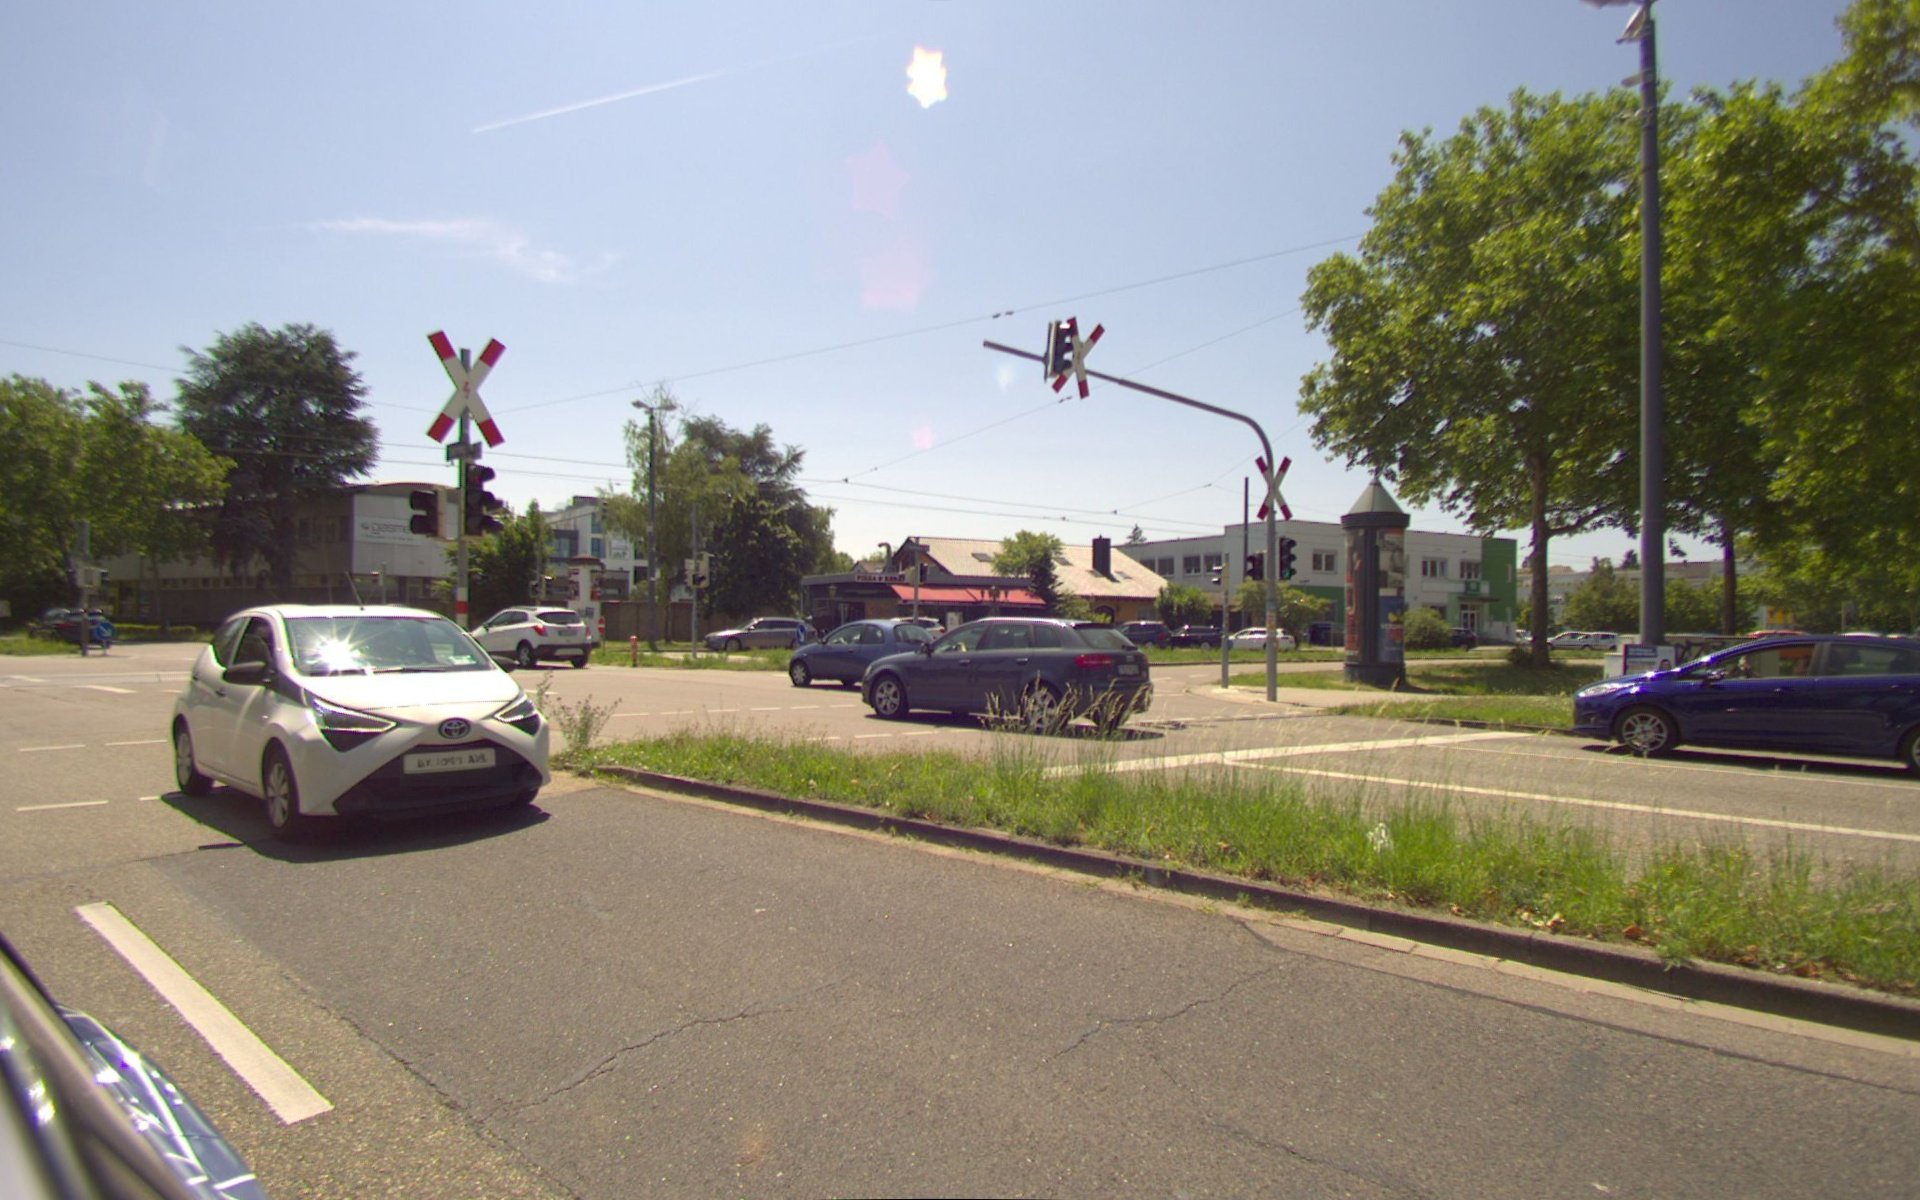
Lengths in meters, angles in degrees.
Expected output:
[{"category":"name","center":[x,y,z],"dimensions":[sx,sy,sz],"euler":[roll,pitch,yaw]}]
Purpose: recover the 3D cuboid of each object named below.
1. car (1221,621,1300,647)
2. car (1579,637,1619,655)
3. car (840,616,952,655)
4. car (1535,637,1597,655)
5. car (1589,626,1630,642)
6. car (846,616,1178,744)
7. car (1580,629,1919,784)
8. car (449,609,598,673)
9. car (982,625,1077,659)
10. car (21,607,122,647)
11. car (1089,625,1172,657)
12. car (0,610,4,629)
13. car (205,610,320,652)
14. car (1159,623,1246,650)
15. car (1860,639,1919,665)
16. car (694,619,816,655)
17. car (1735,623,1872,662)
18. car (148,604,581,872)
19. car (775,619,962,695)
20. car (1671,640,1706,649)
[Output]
[{"category":"car","center":[17.672,1.990,59.565],"dimensions":[4.053,1.434,1.923],"euler":[0,-2,37]},{"category":"car","center":[48.202,3.463,76.391],"dimensions":[2.445,1.214,1.110],"euler":[0,-1,30]},{"category":"car","center":[-2.815,1.551,44.553],"dimensions":[4.384,1.617,2.223],"euler":[1,-2,-29]},{"category":"car","center":[45.196,3.433,75.527],"dimensions":[3.888,1.214,1.345],"euler":[-1,-2,37]},{"category":"car","center":[50.473,2.612,78.677],"dimensions":[2.603,1.214,1.110],"euler":[0,-1,30]},{"category":"car","center":[0.587,0.970,13.411],"dimensions":[4.174,1.406,1.719],"euler":[0,-3,39]},{"category":"car","center":[9.218,1.106,11.170],"dimensions":[3.866,1.466,1.702],"euler":[0,-3,40]},{"category":"car","center":[-12.065,1.087,27.891],"dimensions":[4.395,1.627,1.771],"euler":[-1,-2,36]},{"category":"car","center":[3.545,2.125,51.876],"dimensions":[4.555,1.663,1.764],"euler":[-1,-2,33]},{"category":"car","center":[-35.653,1.061,40.582],"dimensions":[4.284,1.550,1.894],"euler":[0,-1,32]},{"category":"car","center":[9.412,2.233,55.848],"dimensions":[4.182,1.663,1.764],"euler":[-1,-2,33]},{"category":"car","center":[-86.503,1.700,88.086],"dimensions":[1.904,1.692,4.413],"euler":[0,-1,20]},{"category":"car","center":[-25.987,1.136,37.667],"dimensions":[4.734,1.451,1.933],"euler":[0,-2,34]},{"category":"car","center":[13.530,1.994,56.443],"dimensions":[4.376,1.422,1.857],"euler":[0,-2,33]},{"category":"car","center":[42.254,2.302,45.045],"dimensions":[1.366,1.093,3.058],"euler":[2,-2,-37]},{"category":"car","center":[-8.473,1.514,41.943],"dimensions":[4.590,1.391,1.893],"euler":[1,-1,-29]},{"category":"car","center":[35.024,1.724,42.118],"dimensions":[1.434,1.407,4.148],"euler":[0,0,-33]},{"category":"car","center":[-4.458,0.771,7.368],"dimensions":[3.649,1.456,1.602],"euler":[0,0,40]},{"category":"car","center":[-1.885,1.089,20.407],"dimensions":[3.549,1.372,1.787],"euler":[0,-2,40]},{"category":"car","center":[59.820,3.641,83.096],"dimensions":[2.286,0.648,0.766],"euler":[-1,-2,37]}]
